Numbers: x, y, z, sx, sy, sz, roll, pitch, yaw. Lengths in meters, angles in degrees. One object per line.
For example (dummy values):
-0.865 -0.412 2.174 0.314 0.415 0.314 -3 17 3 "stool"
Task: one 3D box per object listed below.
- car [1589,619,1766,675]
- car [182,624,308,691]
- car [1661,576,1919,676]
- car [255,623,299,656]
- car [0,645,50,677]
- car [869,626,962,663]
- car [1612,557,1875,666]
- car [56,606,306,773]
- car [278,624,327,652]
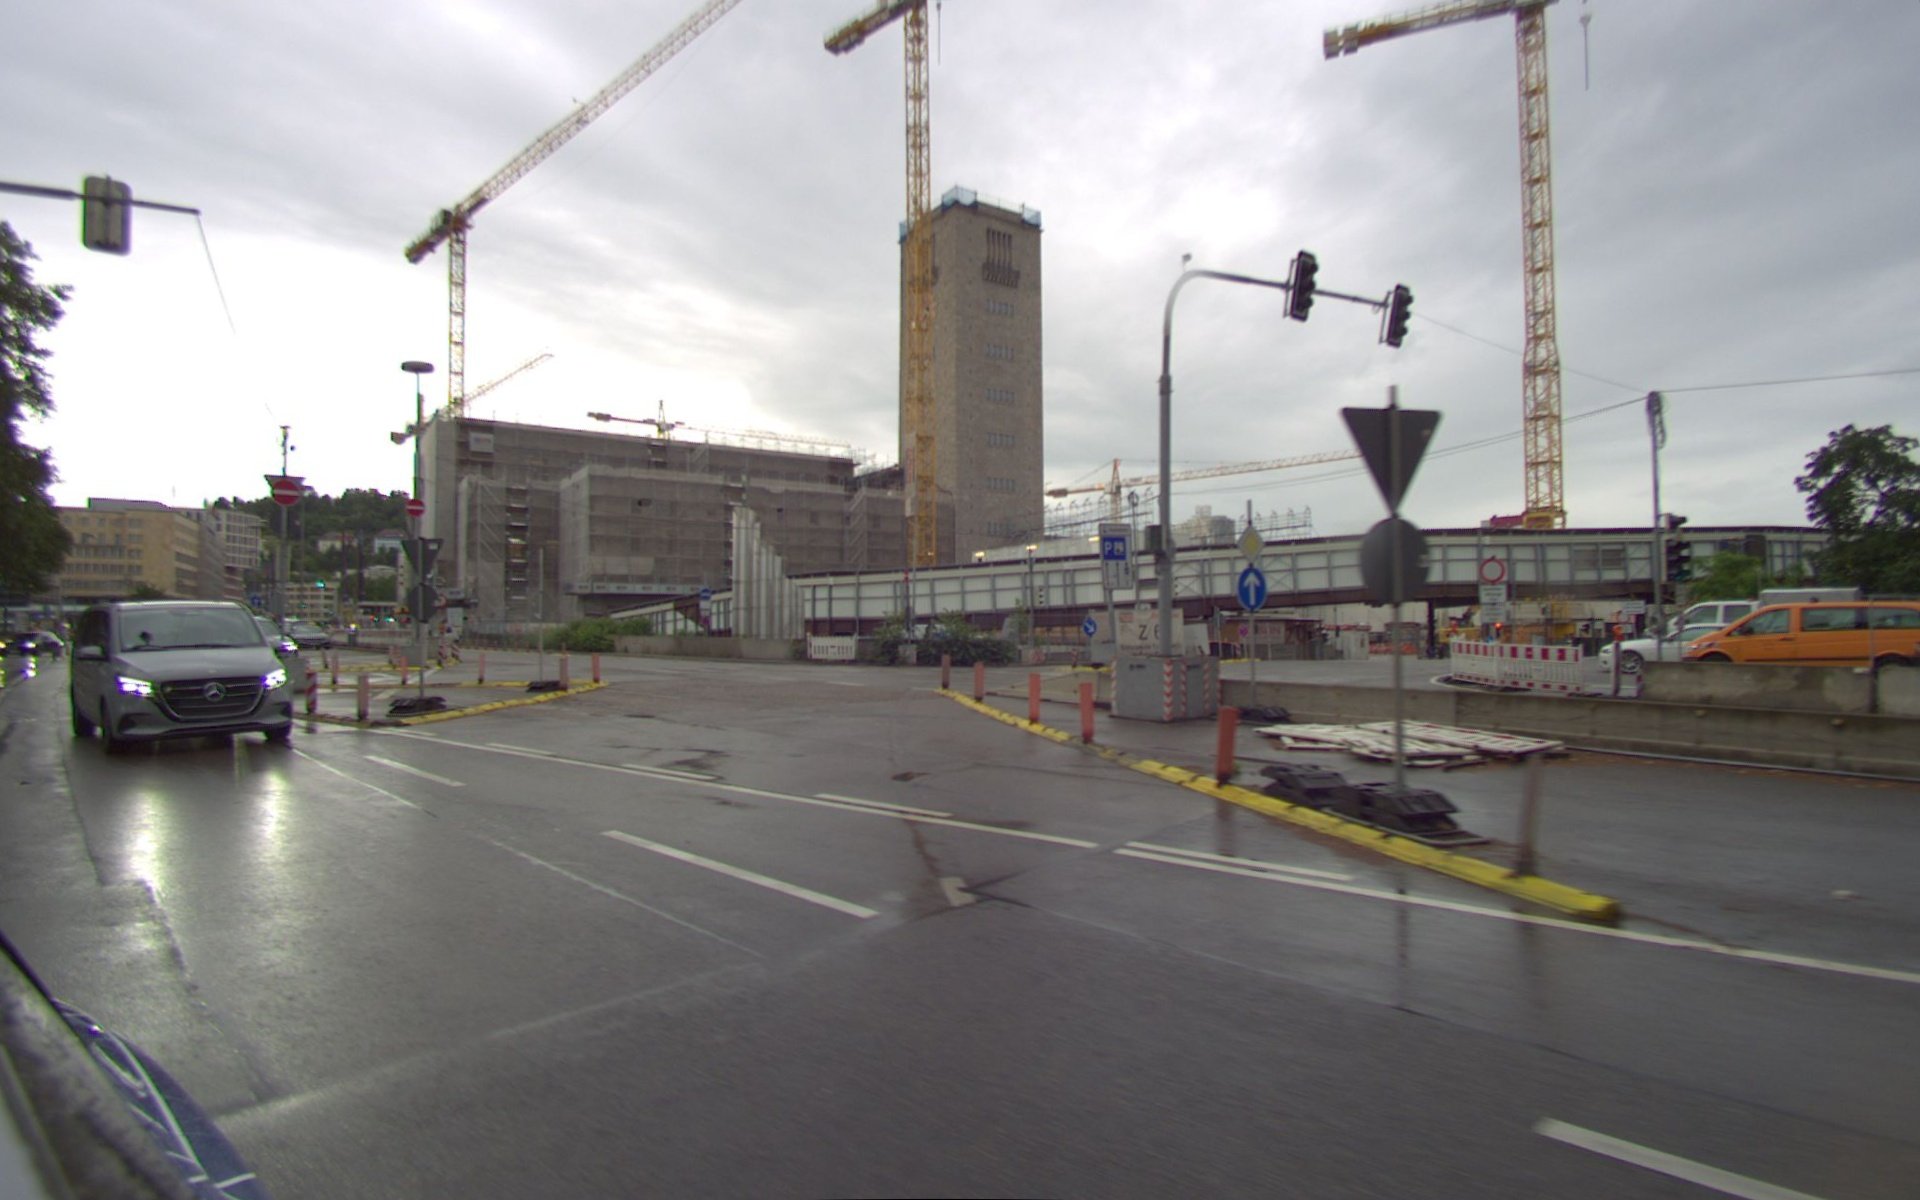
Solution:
19.546 1.272 27.707 3.827 1.426 1.741 -1 -3 37 "car"
-22.136 1.712 31.255 5.074 1.877 2.185 -2 -2 43 "car"
19.918 0.650 23.629 5.585 2.117 1.971 -2 -5 45 "car"
-48.227 2.782 71.441 1.973 2.224 5.005 3 -3 -40 "car"
-55.479 3.598 59.825 1.967 1.777 4.009 2 -3 -35 "car"
-2.536 2.535 57.934 4.974 2.029 1.992 0 -3 12 "car"
24.267 0.428 31.607 2.246 3.089 6.175 3 -3 -43 "car"
-10.855 1.106 13.920 5.358 1.870 1.971 -3 -2 44 "car"
-40.018 2.328 61.575 1.805 1.665 4.580 3 -3 -41 "car"
